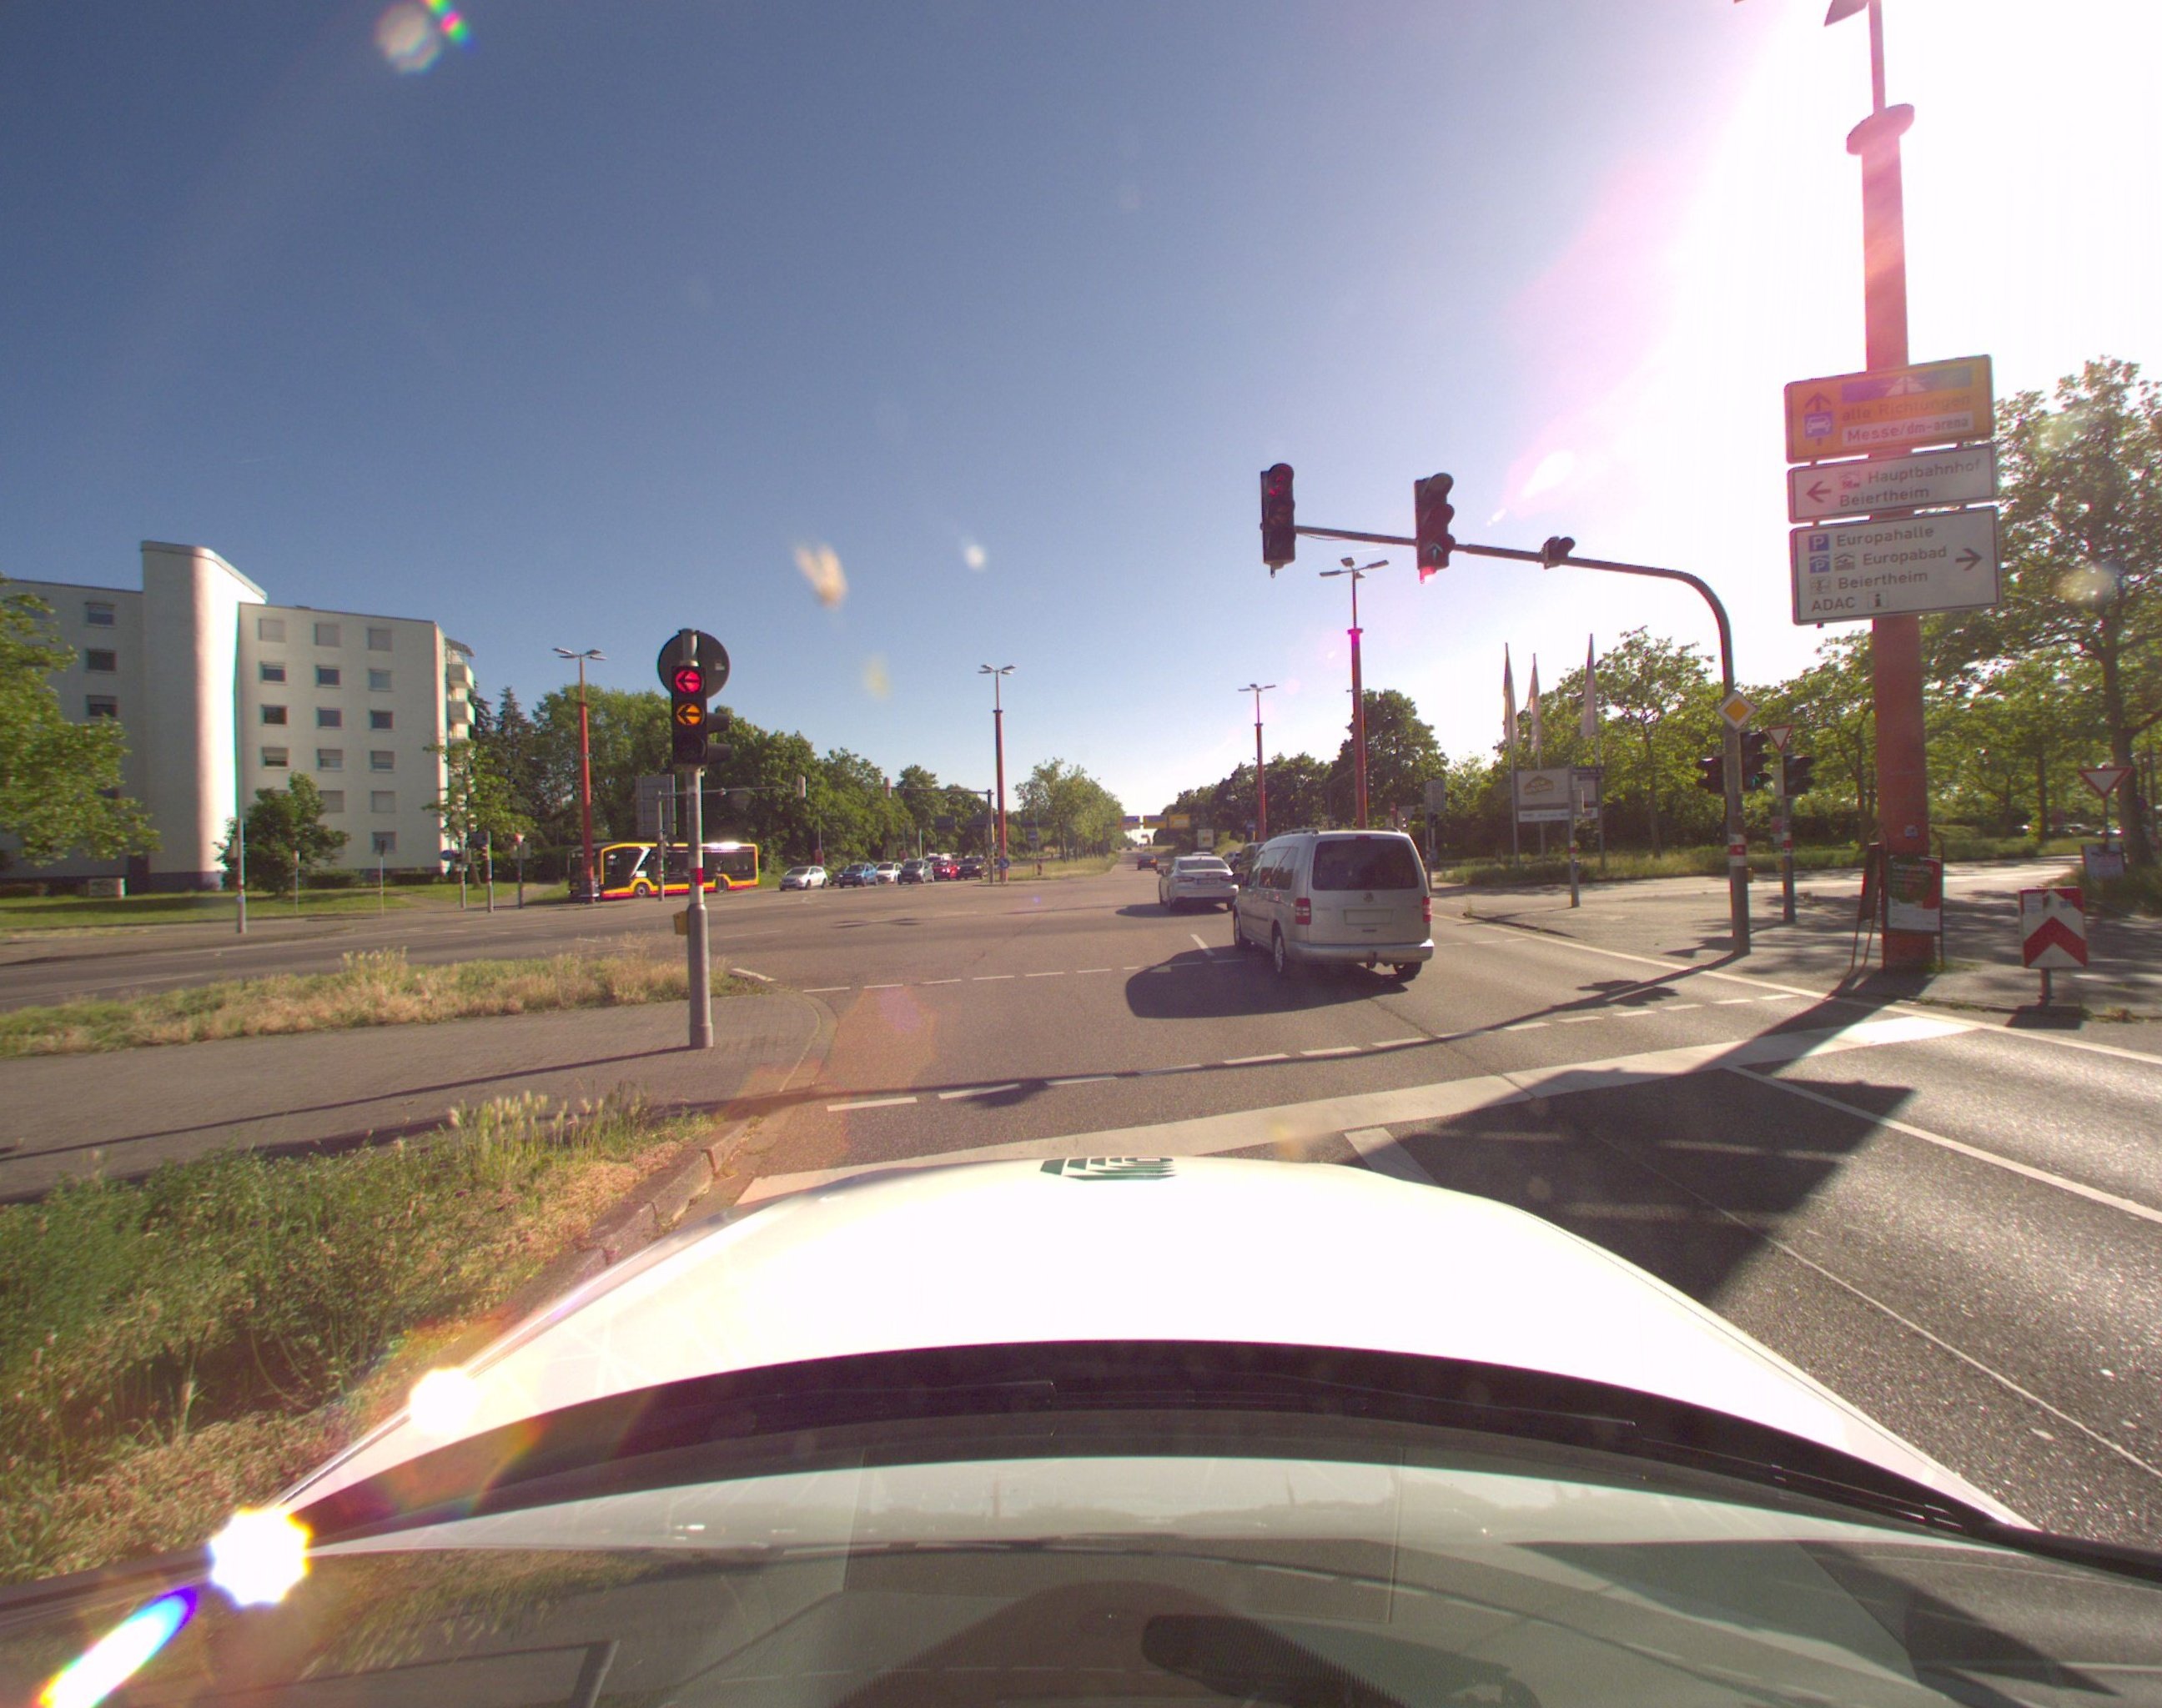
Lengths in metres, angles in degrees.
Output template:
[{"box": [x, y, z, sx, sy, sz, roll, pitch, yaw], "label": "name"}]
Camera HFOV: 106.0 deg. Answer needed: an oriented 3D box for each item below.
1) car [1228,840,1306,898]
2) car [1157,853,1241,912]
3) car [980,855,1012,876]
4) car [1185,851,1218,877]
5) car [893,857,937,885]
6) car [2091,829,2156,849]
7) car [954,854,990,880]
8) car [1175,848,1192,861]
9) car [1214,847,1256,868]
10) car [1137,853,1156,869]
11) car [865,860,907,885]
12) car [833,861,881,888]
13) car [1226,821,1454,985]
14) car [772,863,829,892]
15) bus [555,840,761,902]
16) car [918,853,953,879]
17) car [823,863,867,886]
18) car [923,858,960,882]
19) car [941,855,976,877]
[{"box": [6.579, 0.484, 29.346, 1.797, 1.852, 5.106, -2, 0, 2], "label": "car"}, {"box": [3.213, 0.735, 23.025, 1.798, 1.493, 4.683, 0, 0, 1], "label": "car"}, {"box": [-6.674, 0.861, 64.161, 1.878, 1.543, 4.002, -3, 0, 2], "label": "car"}, {"box": [7.824, 0.658, 53.050, 1.709, 1.608, 3.849, 0, -1, 2], "label": "car"}, {"box": [-10.691, 1.077, 52.691, 1.867, 1.550, 4.029, -3, 0, 2], "label": "car"}, {"box": [86.666, -1.236, 67.709, 4.132, 1.517, 1.857, 0, -1, -16], "label": "car"}, {"box": [-7.523, 0.856, 56.697, 1.787, 1.626, 4.144, -3, 0, 1], "label": "car"}, {"box": [13.103, 0.097, 104.031, 1.757, 1.635, 4.299, 0, -1, 1], "label": "car"}, {"box": [12.901, 0.313, 68.524, 1.767, 1.635, 4.275, -2, 0, -16], "label": "car"}, {"box": [6.147, 0.681, 76.974, 1.756, 1.441, 4.299, 0, 0, 4], "label": "car"}, {"box": [-13.769, 1.286, 57.757, 1.895, 1.555, 4.000, -3, 0, 0], "label": "car"}, {"box": [-14.133, 1.284, 51.610, 1.794, 1.515, 3.861, -3, 0, 2], "label": "car"}, {"box": [3.331, 0.566, 11.488, 1.798, 1.821, 4.587, -1, -1, 1], "label": "car"}, {"box": [-17.639, 1.421, 51.411, 1.869, 1.652, 4.222, -3, -1, 3], "label": "car"}, {"box": [-24.828, 0.924, 49.185, 2.624, 3.261, 12.597, -1, -1, 20], "label": "bus"}, {"box": [-12.719, 0.998, 71.296, 1.954, 2.155, 5.083, -2, 0, 1], "label": "car"}, {"box": [-17.553, 1.501, 60.673, 1.877, 1.513, 4.003, -3, 0, 3], "label": "car"}, {"box": [-10.062, 1.123, 59.018, 1.869, 1.552, 4.000, -5, 0, 0], "label": "car"}, {"box": [-9.743, 0.932, 65.015, 1.893, 1.630, 4.003, -1, 0, 3], "label": "car"}]
